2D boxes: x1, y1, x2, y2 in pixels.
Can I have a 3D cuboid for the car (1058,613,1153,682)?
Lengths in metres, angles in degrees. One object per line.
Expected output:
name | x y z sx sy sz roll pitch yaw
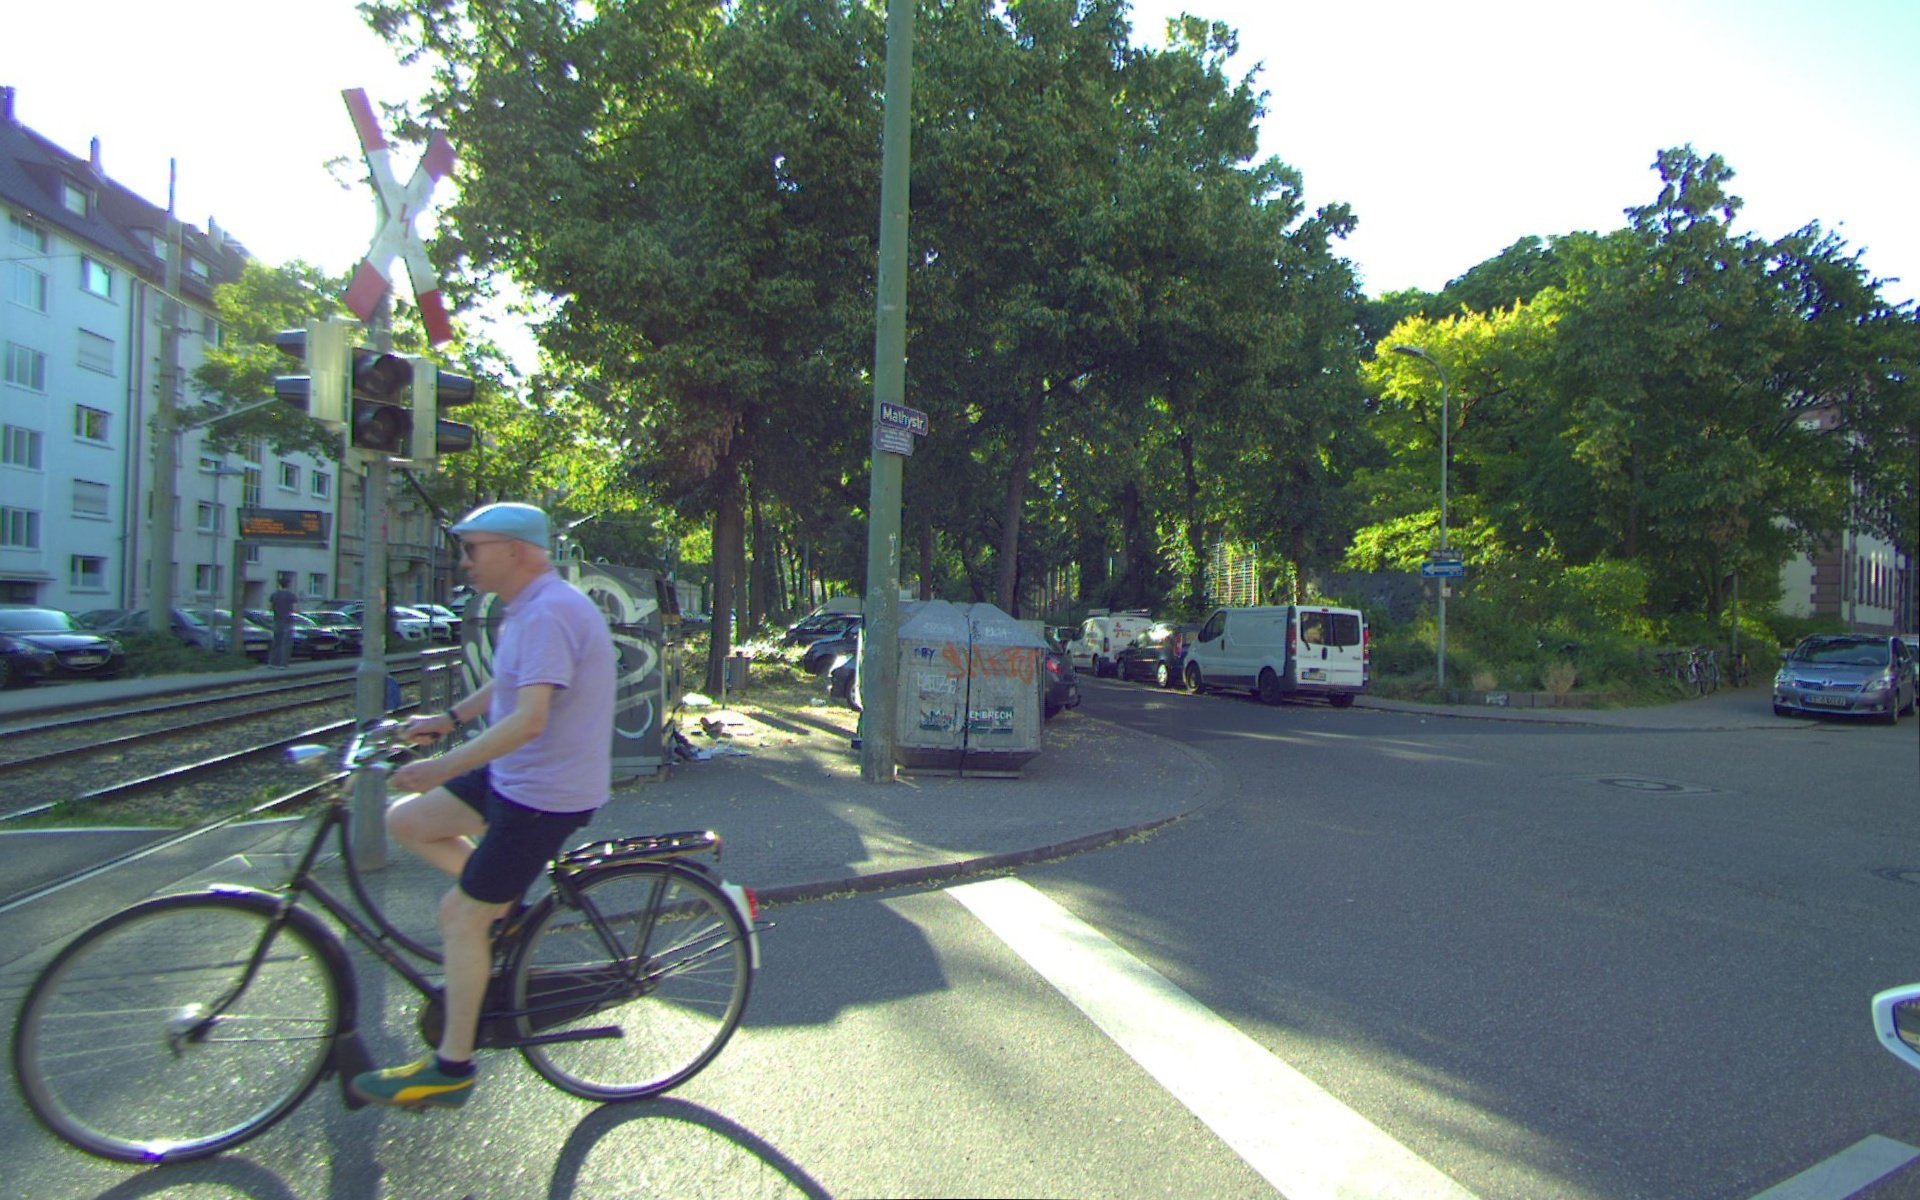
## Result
car | 4.334 1.380 30.470 1.549 1.929 3.893 1 -1 -13

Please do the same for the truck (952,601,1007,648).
truck | 1.000 1.296 53.510 2.330 2.383 4.379 1 -1 -7

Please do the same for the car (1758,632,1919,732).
car | 17.543 1.529 19.971 4.258 1.636 1.810 2 2 -41

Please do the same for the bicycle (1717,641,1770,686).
bicycle | 20.941 1.677 26.830 2.606 1.116 0.592 2 -1 -40

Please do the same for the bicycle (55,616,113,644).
bicycle | -32.750 1.107 37.591 0.523 1.016 2.173 1 -1 -8

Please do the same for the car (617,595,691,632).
car | -24.172 1.078 79.322 5.167 2.606 2.272 -3 -1 21

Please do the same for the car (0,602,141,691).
car | -17.233 0.873 18.193 4.123 1.456 1.701 -3 -1 18

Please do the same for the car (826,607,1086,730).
car | -0.026 1.003 15.646 3.661 1.540 1.608 4 0 16

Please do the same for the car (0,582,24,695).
car | -16.384 0.681 15.270 4.161 1.674 1.606 -3 -1 24

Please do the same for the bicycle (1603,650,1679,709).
bicycle | 14.090 1.613 20.740 2.605 1.116 0.592 2 -1 -40

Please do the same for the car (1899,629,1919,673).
car | 35.908 1.897 36.735 3.900 1.520 1.810 2 2 -41

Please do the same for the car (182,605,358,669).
car | -18.438 0.983 26.866 4.157 1.478 1.608 -3 -1 17

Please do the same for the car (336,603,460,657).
car | -19.744 1.059 35.241 4.166 1.673 1.854 -3 -1 29

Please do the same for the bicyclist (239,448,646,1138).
bicyclist | -1.353 0.464 2.812 0.860 1.609 0.698 1 -1 -17

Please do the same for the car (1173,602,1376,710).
car | 6.509 1.098 21.409 1.918 2.030 4.645 1 -1 -15

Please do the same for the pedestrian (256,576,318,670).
pedestrian | -14.204 0.484 21.217 0.837 1.936 0.835 1 -1 -17

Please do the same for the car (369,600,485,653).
car | -20.033 1.017 37.714 4.166 1.772 1.854 -3 -1 29

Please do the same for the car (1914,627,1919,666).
car | 39.610 1.915 40.094 3.900 1.520 1.810 2 2 -41

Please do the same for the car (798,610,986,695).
car | -1.415 1.078 21.263 3.546 1.466 1.608 4 0 16

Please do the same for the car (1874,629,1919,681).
car | 31.153 1.778 32.503 3.900 1.520 1.810 2 2 -41

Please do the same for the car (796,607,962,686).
car | -1.918 1.084 24.096 3.546 1.583 1.608 4 0 17

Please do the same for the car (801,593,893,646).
car | -6.089 1.056 54.118 4.414 2.508 1.819 3 -2 24

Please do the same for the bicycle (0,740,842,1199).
bicycle | -1.433 0.982 2.793 2.089 1.068 0.698 2 -1 -17

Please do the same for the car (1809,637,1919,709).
car | 22.278 1.714 24.468 3.900 1.466 1.810 2 2 -41

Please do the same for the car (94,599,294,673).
car | -18.011 0.843 23.636 4.157 1.528 1.608 -3 -1 17

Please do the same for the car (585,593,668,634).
car | -23.488 0.931 70.717 5.167 2.606 2.272 -3 -1 21

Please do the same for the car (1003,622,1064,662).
car | 2.907 1.644 40.214 1.548 1.487 3.593 1 -1 -11

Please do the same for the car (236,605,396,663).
car | -18.793 0.981 29.325 4.157 1.478 1.608 -3 -1 17

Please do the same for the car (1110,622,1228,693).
car | 5.317 1.442 26.000 1.549 1.659 3.702 1 -1 -14

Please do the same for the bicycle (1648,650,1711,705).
bicycle | 16.133 1.706 22.500 2.607 1.116 0.591 2 -1 -42

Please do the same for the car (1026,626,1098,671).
car | 3.518 1.667 35.266 1.548 1.404 3.593 1 -1 -11

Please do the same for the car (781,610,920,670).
car | -3.289 1.215 30.422 3.752 1.516 1.739 4 -2 12

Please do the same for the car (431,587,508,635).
car | -30.760 0.688 63.203 2.512 2.926 5.478 0 0 -4

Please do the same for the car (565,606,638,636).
car | -23.035 1.368 64.542 4.159 1.721 1.857 -3 -1 21

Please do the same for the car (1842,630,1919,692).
car | 26.347 1.686 28.217 3.900 1.498 1.810 2 2 -41

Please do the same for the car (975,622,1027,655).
car | 1.823 1.735 45.620 1.548 1.403 3.593 1 -1 -11

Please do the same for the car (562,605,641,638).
car | -21.279 1.258 59.605 4.159 1.721 1.857 -3 -1 21
